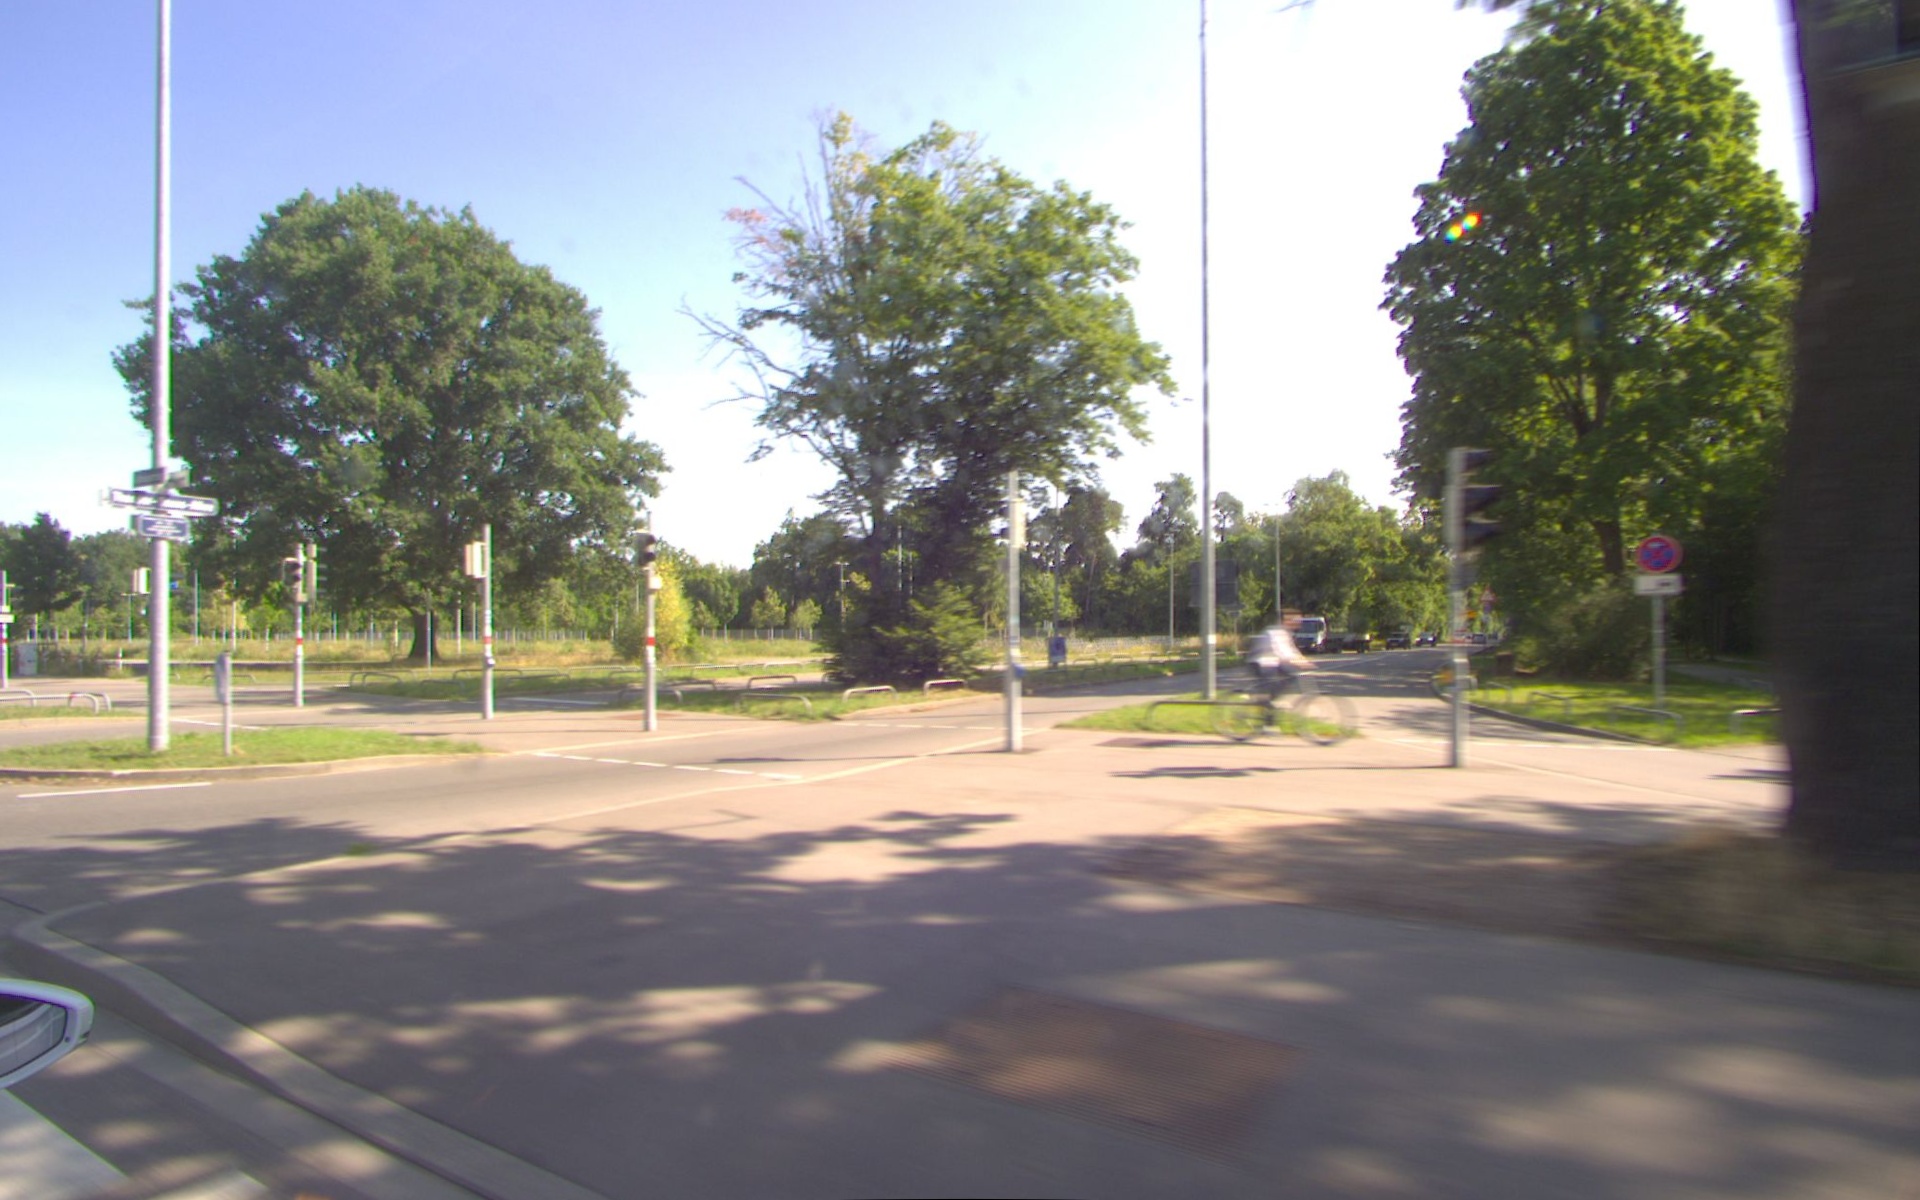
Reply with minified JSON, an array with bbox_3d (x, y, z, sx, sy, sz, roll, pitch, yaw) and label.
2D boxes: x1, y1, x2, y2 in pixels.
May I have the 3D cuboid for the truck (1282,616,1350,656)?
[{"bbox_3d":[25.789,2.633,72.438,2.649,2.752,6.157,-1,-2,40],"label":"truck"}]

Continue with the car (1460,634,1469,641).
[{"bbox_3d":[97.801,7.283,194.169,1.602,1.419,3.469,-1,-2,28],"label":"car"}]

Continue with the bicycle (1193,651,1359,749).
[{"bbox_3d":[4.239,1.306,13.470,2.066,1.215,0.724,-1,-1,25],"label":"bicycle"}]

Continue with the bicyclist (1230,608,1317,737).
[{"bbox_3d":[4.231,0.953,13.489,1.041,1.660,0.724,0,-1,25],"label":"bicyclist"}]

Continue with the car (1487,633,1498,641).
[{"bbox_3d":[110.097,7.660,206.969,1.735,1.527,3.980,-1,-2,33],"label":"car"}]

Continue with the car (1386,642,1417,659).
[{"bbox_3d":[40.655,4.609,92.219,1.822,1.503,3.976,-1,-2,35],"label":"car"}]

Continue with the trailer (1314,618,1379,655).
[{"bbox_3d":[29.928,2.803,77.407,2.672,2.721,6.838,-1,-2,40],"label":"trailer"}]

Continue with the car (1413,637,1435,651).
[{"bbox_3d":[51.442,4.880,111.001,1.969,1.505,3.986,-1,-2,27],"label":"car"}]
